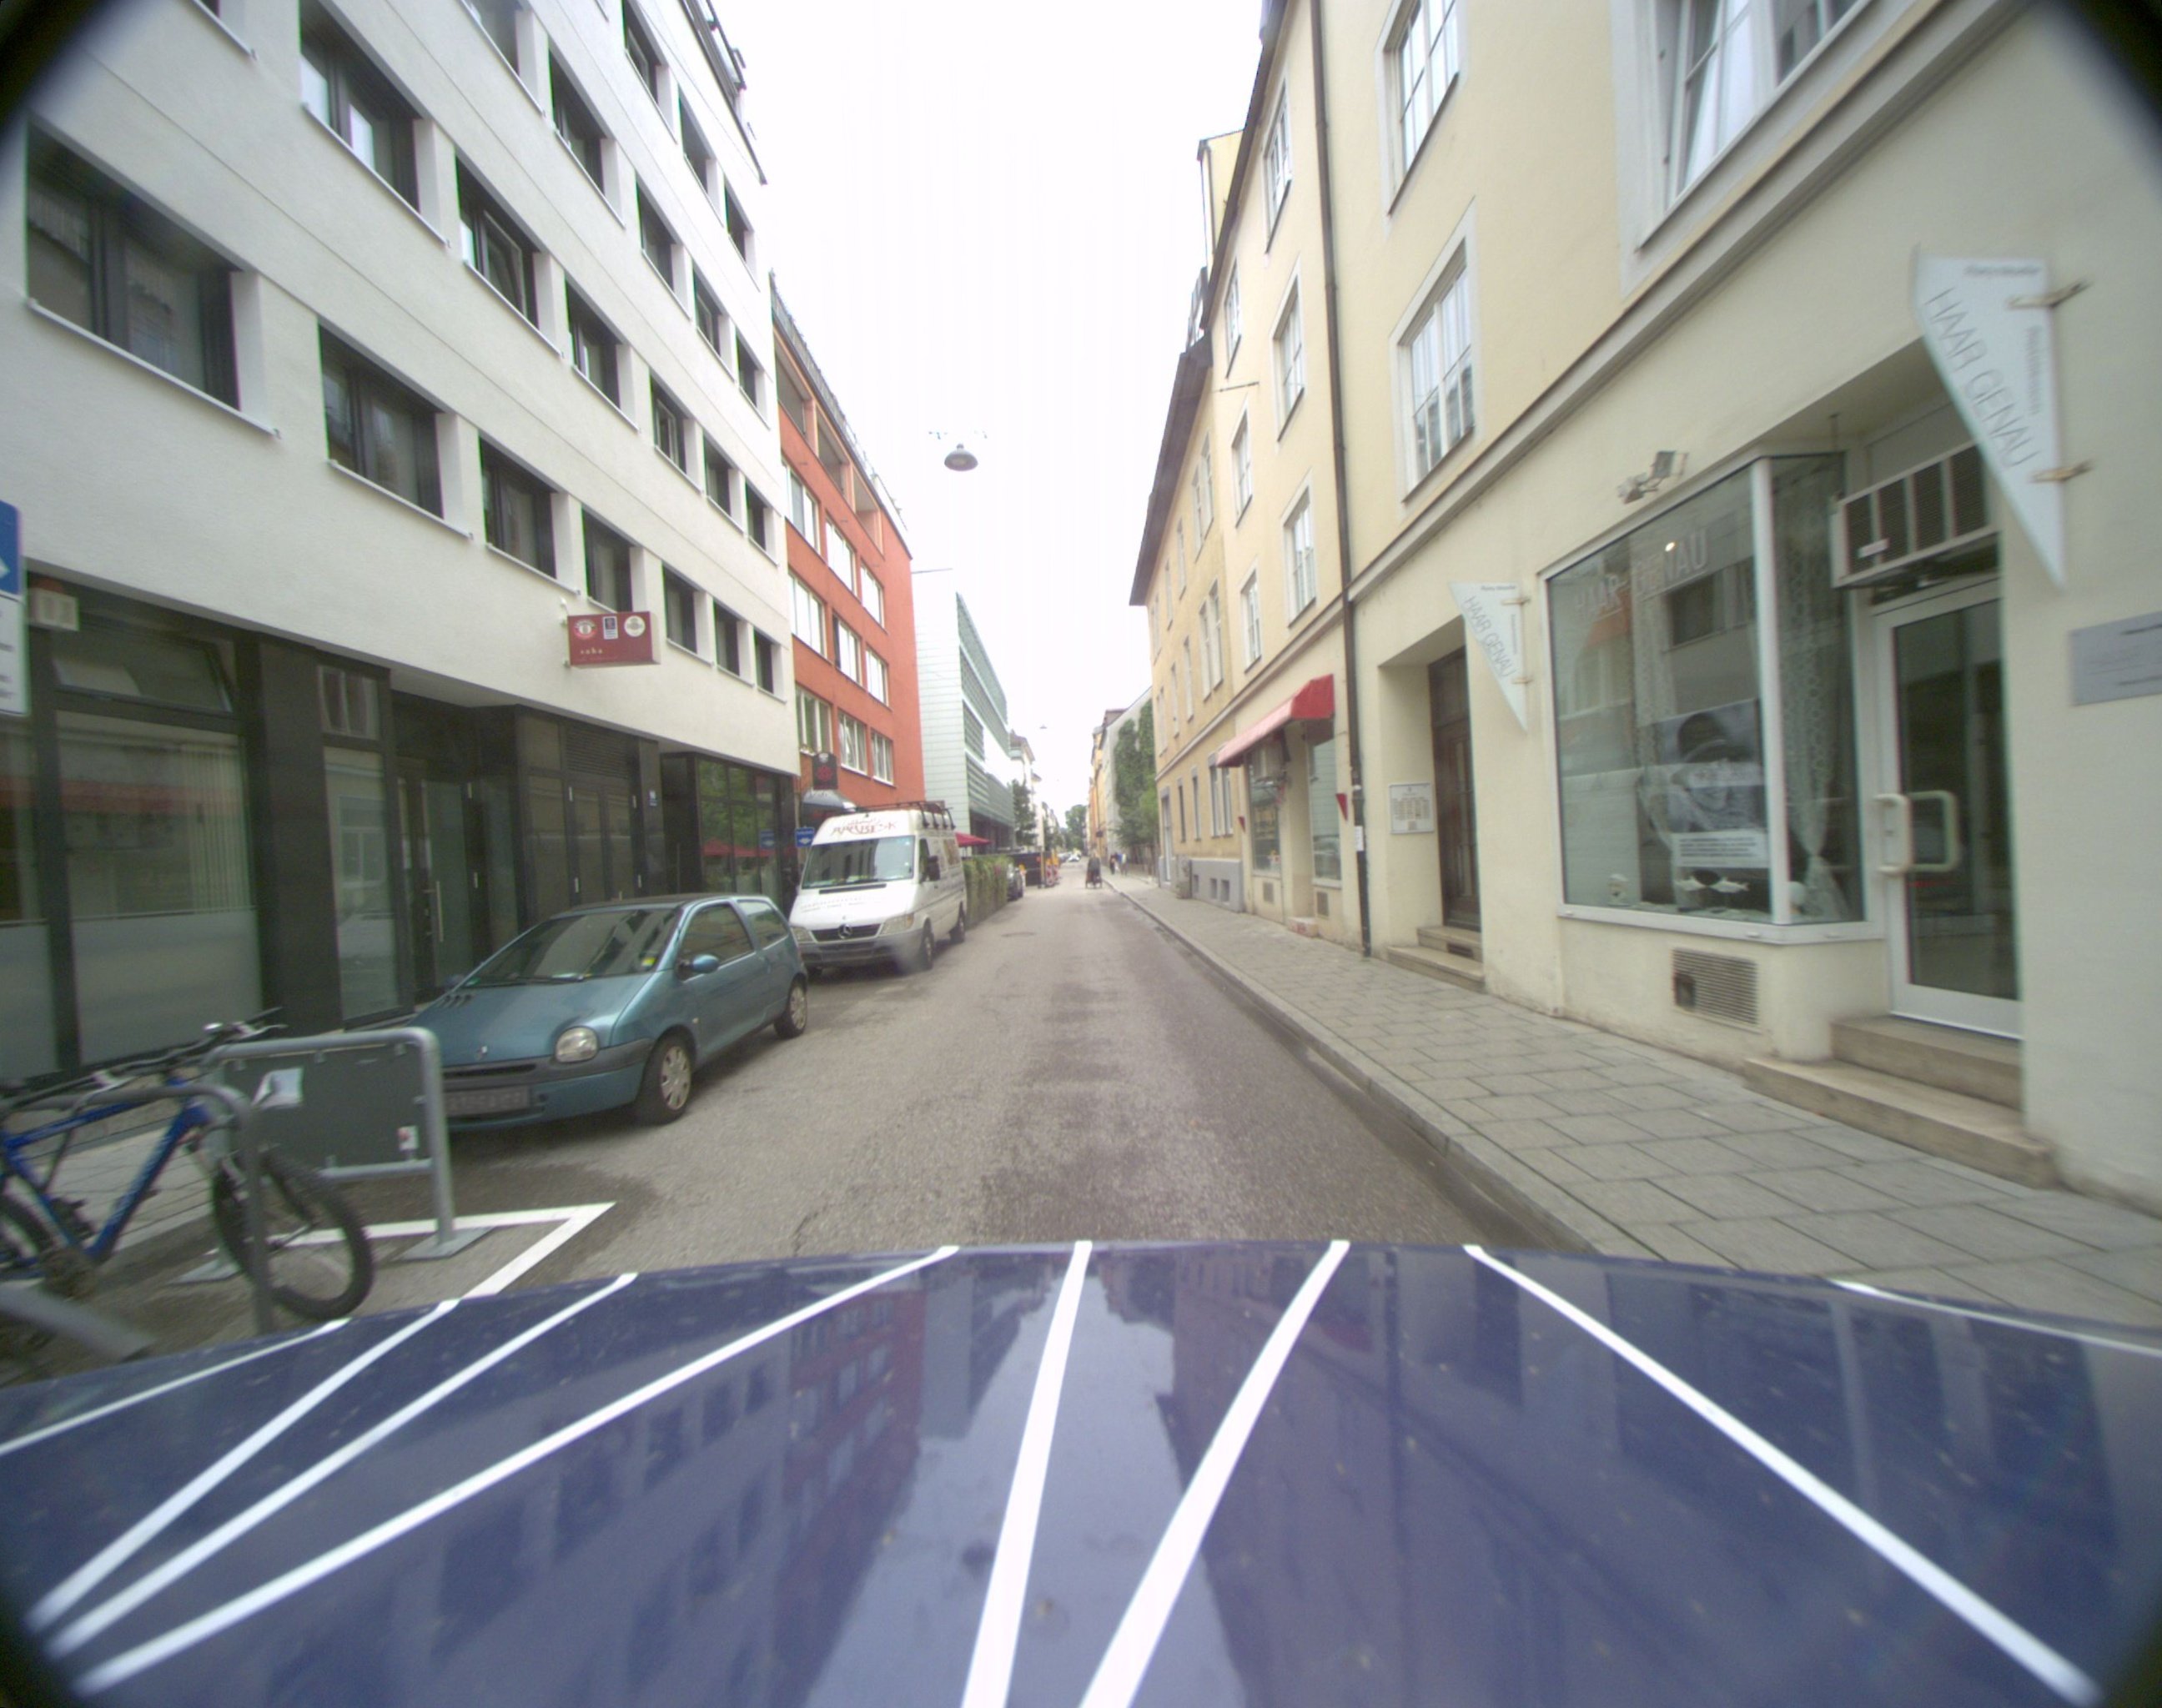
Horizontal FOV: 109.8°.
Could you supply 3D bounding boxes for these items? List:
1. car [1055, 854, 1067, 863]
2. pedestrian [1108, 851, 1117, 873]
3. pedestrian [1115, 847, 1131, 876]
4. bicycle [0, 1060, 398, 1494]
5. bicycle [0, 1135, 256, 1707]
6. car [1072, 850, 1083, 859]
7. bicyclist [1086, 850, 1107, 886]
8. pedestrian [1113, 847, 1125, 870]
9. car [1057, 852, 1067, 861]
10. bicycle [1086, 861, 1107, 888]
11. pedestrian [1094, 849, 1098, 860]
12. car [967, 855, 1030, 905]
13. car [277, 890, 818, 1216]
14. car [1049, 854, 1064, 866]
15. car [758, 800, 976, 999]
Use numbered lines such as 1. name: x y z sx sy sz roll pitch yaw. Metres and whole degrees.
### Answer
1. car: -3.070 0.619 118.477 1.625 1.259 4.329 -4 0 0
2. pedestrian: 2.457 0.621 58.556 0.553 1.650 0.997 -4 1 0
3. pedestrian: 2.772 0.467 50.164 0.861 1.834 0.974 -4 1 1
4. bicycle: -3.437 1.363 2.460 1.879 1.073 0.488 -6 0 -2
5. bicycle: -2.957 1.304 1.552 1.879 1.101 0.488 -5 0 -2
6. car: -0.736 0.068 148.148 1.999 1.583 4.374 -4 0 0
7. bicyclist: 0.754 0.693 37.615 0.929 1.711 1.099 -2 1 0
8. pedestrian: 3.040 0.357 60.384 0.777 1.826 0.991 -4 1 0
9. car: -3.479 0.492 141.053 1.793 1.550 3.999 -4 0 0
10. bicycle: 0.749 1.006 38.058 0.934 1.250 2.413 -2 1 0
11. pedestrian: 2.457 0.025 124.892 0.493 1.814 0.552 -3 1 -1
12. car: -3.191 0.950 30.370 1.828 1.700 4.389 -4 0 1
13. car: -3.425 1.135 5.793 1.584 1.455 3.551 -4 0 -1
14. car: -3.256 0.806 101.517 1.809 1.390 3.999 -4 0 0
15. car: -3.237 0.600 13.050 1.925 2.491 5.996 -5 0 -1
